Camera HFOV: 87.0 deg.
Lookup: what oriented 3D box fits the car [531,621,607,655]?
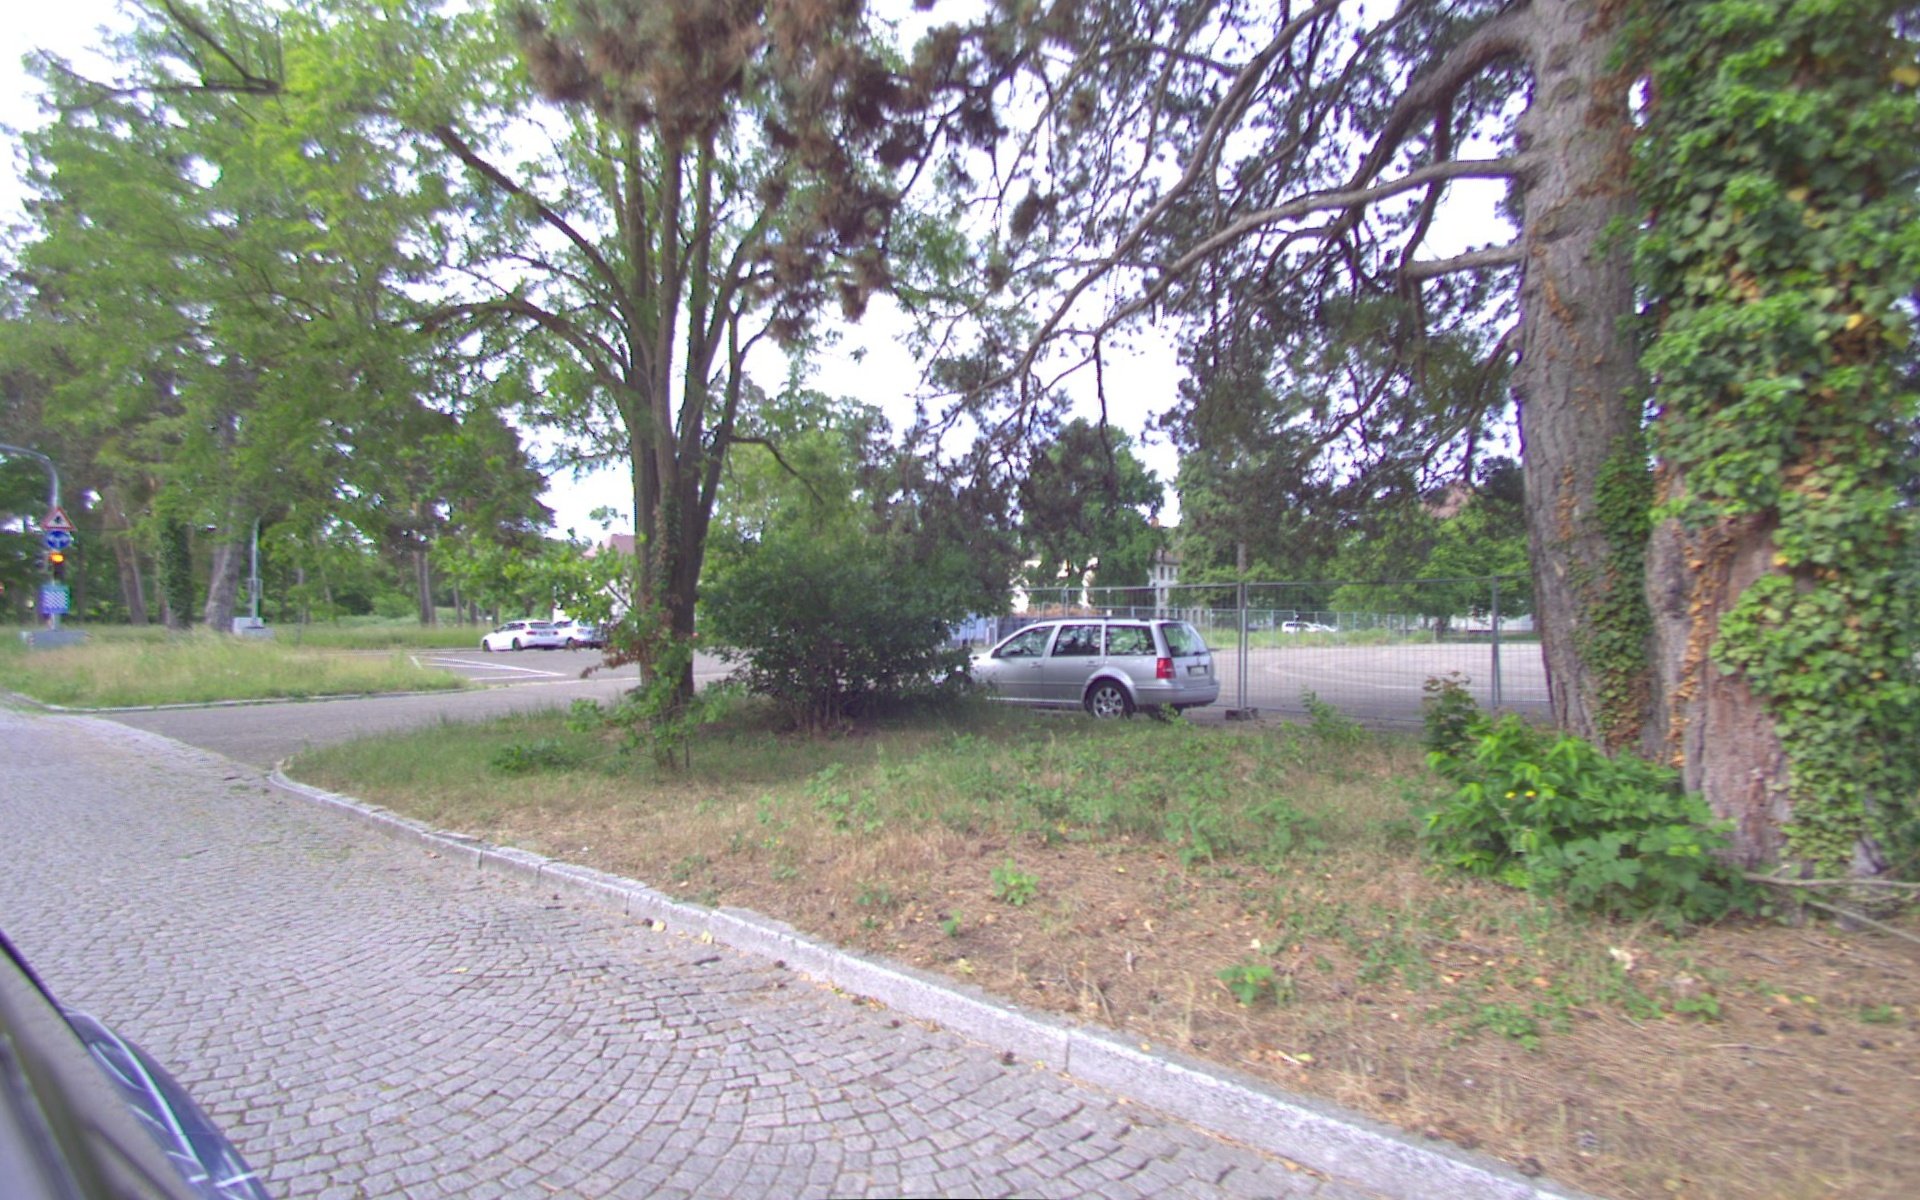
[{"bbox_3d":[-18.766,1.837,48.556,3.893,1.532,1.654,-3,-3,38],"label":"car"}]

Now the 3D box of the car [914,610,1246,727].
[{"bbox_3d":[1.606,0.933,14.417,4.415,1.427,1.807,-1,-4,38],"label":"car"}]

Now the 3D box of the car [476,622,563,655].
[{"bbox_3d":[-20.315,1.748,46.624,4.314,1.436,1.807,-1,-2,38],"label":"car"}]

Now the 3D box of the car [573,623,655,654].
[{"bbox_3d":[-17.404,1.889,50.832,4.396,1.486,1.807,-1,-2,38],"label":"car"}]

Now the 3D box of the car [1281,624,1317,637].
[{"bbox_3d":[46.090,4.149,137.541,4.288,1.735,1.805,-1,0,42],"label":"car"}]

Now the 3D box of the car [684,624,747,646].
[{"bbox_3d":[-16.718,2.369,69.104,4.396,1.486,1.807,-1,-2,38],"label":"car"}]

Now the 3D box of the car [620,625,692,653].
[{"bbox_3d":[-16.003,2.039,53.262,4.032,1.410,1.617,-1,-2,38],"label":"car"}]
